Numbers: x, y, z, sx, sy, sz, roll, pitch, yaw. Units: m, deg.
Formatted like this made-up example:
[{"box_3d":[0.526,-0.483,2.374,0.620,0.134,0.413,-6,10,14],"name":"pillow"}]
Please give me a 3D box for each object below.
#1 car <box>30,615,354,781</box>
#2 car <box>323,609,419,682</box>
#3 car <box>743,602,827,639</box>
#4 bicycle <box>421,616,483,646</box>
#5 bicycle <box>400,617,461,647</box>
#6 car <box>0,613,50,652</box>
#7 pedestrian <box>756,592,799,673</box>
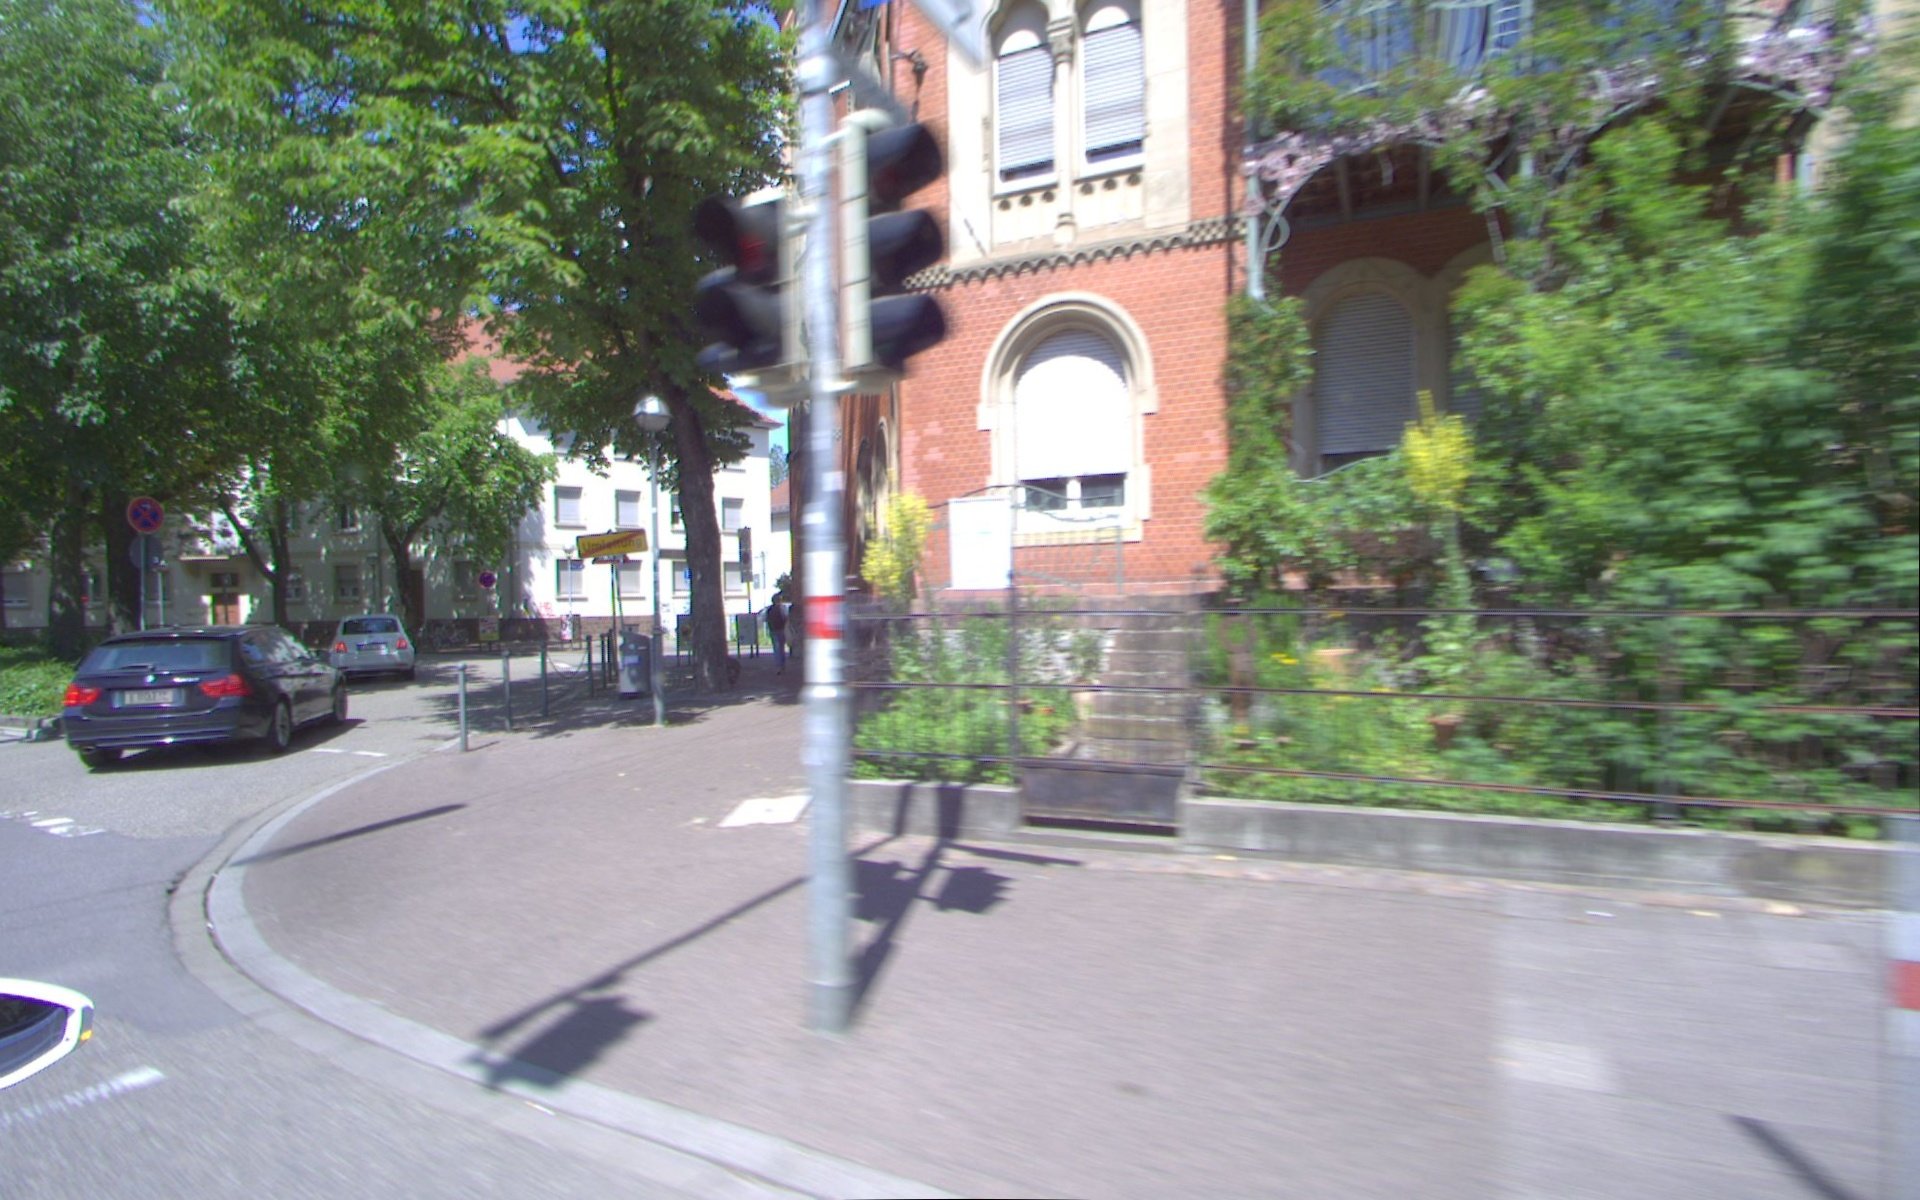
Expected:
[{"box_3d":[-8.529,0.935,11.640,1.699,1.428,4.551,-1,1,-21],"name":"car"},{"box_3d":[-13.499,0.963,22.867,1.668,1.504,3.660,-1,0,-34],"name":"car"},{"box_3d":[-7.376,0.857,42.068,3.693,1.462,1.666,-1,0,44],"name":"car"},{"box_3d":[-19.137,1.149,37.760,0.643,1.072,2.210,0,0,22],"name":"bicycle"},{"box_3d":[-20.524,1.232,38.864,0.548,1.072,2.208,0,0,26],"name":"bicycle"},{"box_3d":[-35.640,1.165,35.845,4.256,1.346,1.791,-1,0,-8],"name":"car"},{"box_3d":[-3.678,0.635,20.154,0.737,1.577,0.800,-1,1,-16],"name":"pedestrian"}]
